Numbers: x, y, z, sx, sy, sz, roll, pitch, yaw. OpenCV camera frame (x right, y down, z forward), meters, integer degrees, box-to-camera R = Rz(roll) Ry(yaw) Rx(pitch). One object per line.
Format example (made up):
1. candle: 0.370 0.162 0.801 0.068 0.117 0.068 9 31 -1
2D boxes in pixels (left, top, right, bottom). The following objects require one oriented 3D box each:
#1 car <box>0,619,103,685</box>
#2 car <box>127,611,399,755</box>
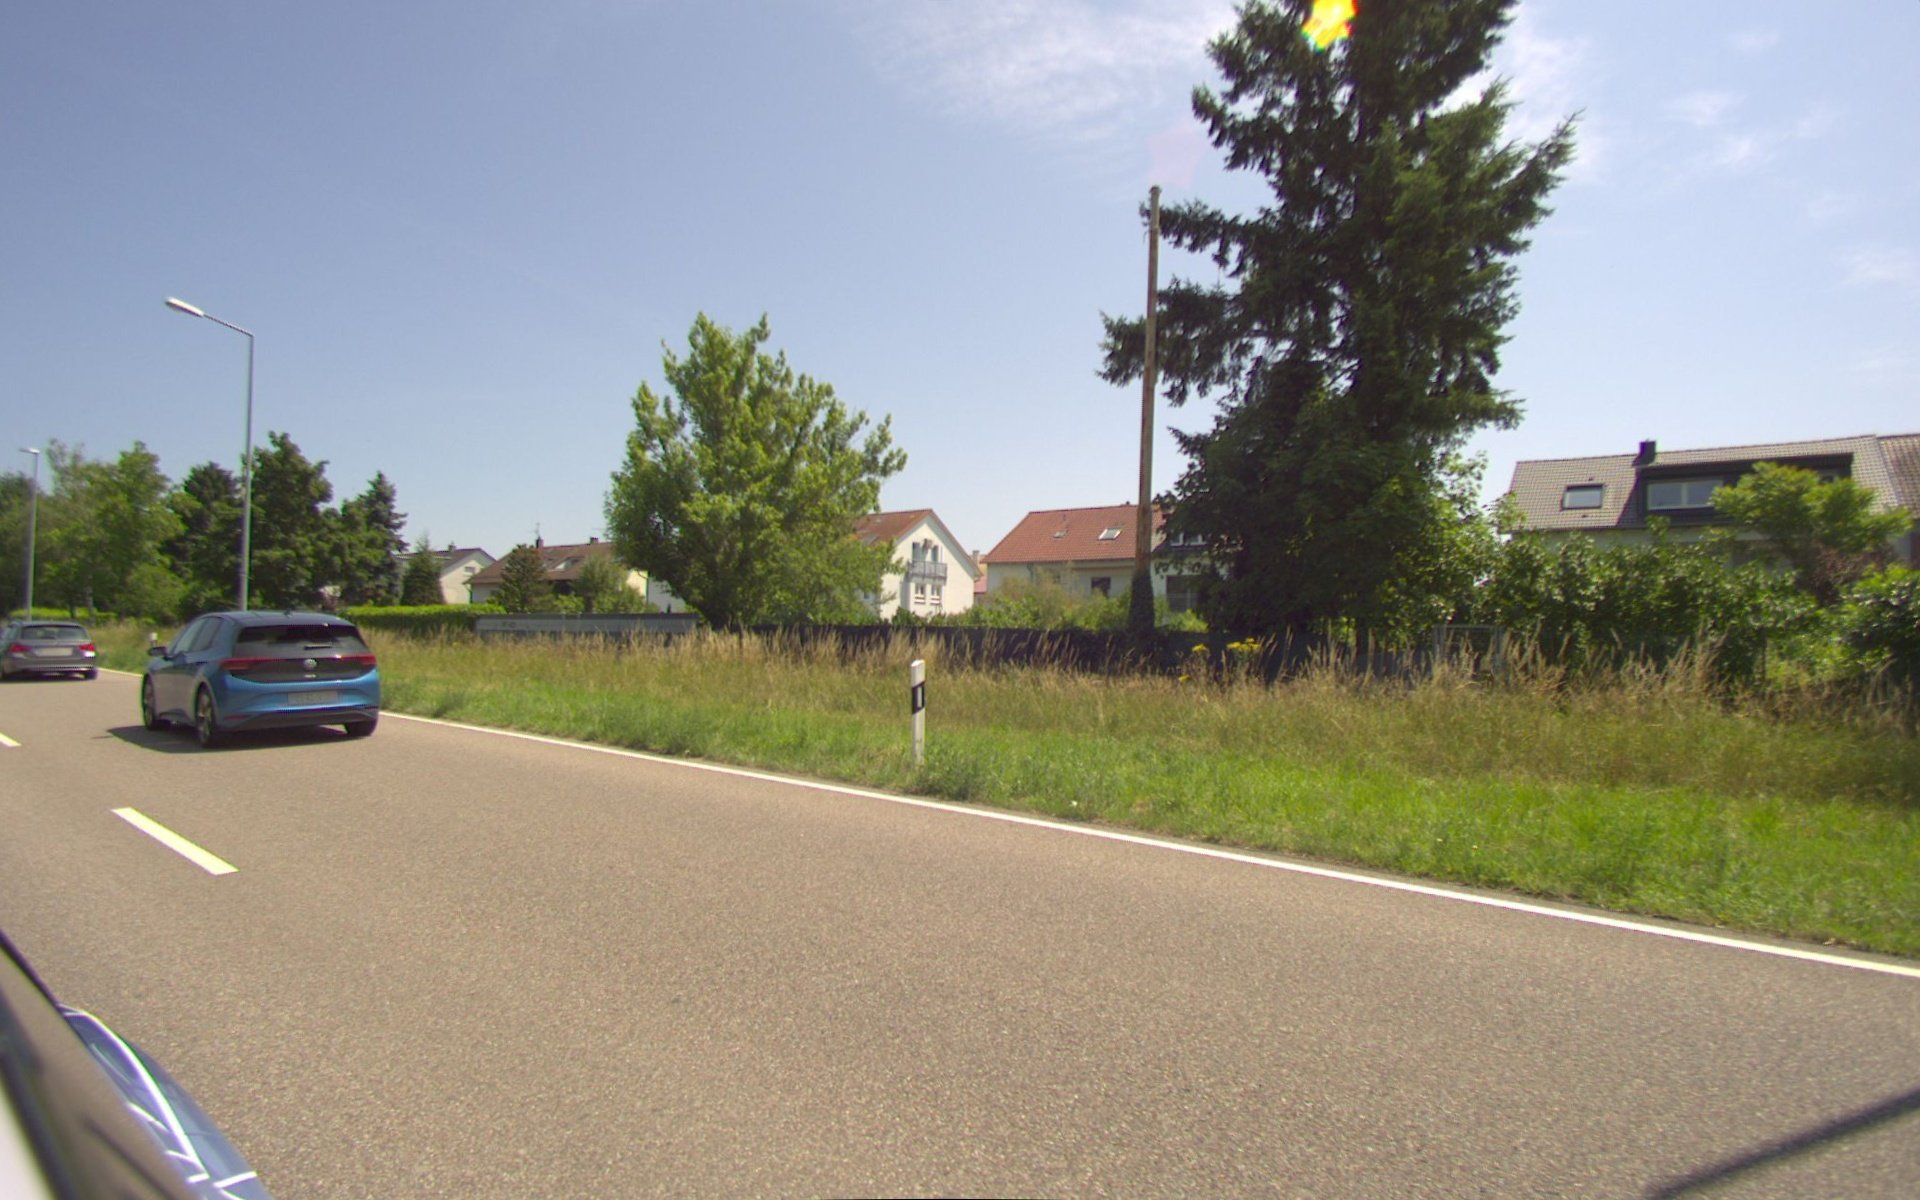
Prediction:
1. car: -22.098 1.184 24.190 4.320 1.434 1.739 -1 -2 40
2. car: -8.801 0.923 12.669 3.997 1.517 1.797 -1 -2 40
